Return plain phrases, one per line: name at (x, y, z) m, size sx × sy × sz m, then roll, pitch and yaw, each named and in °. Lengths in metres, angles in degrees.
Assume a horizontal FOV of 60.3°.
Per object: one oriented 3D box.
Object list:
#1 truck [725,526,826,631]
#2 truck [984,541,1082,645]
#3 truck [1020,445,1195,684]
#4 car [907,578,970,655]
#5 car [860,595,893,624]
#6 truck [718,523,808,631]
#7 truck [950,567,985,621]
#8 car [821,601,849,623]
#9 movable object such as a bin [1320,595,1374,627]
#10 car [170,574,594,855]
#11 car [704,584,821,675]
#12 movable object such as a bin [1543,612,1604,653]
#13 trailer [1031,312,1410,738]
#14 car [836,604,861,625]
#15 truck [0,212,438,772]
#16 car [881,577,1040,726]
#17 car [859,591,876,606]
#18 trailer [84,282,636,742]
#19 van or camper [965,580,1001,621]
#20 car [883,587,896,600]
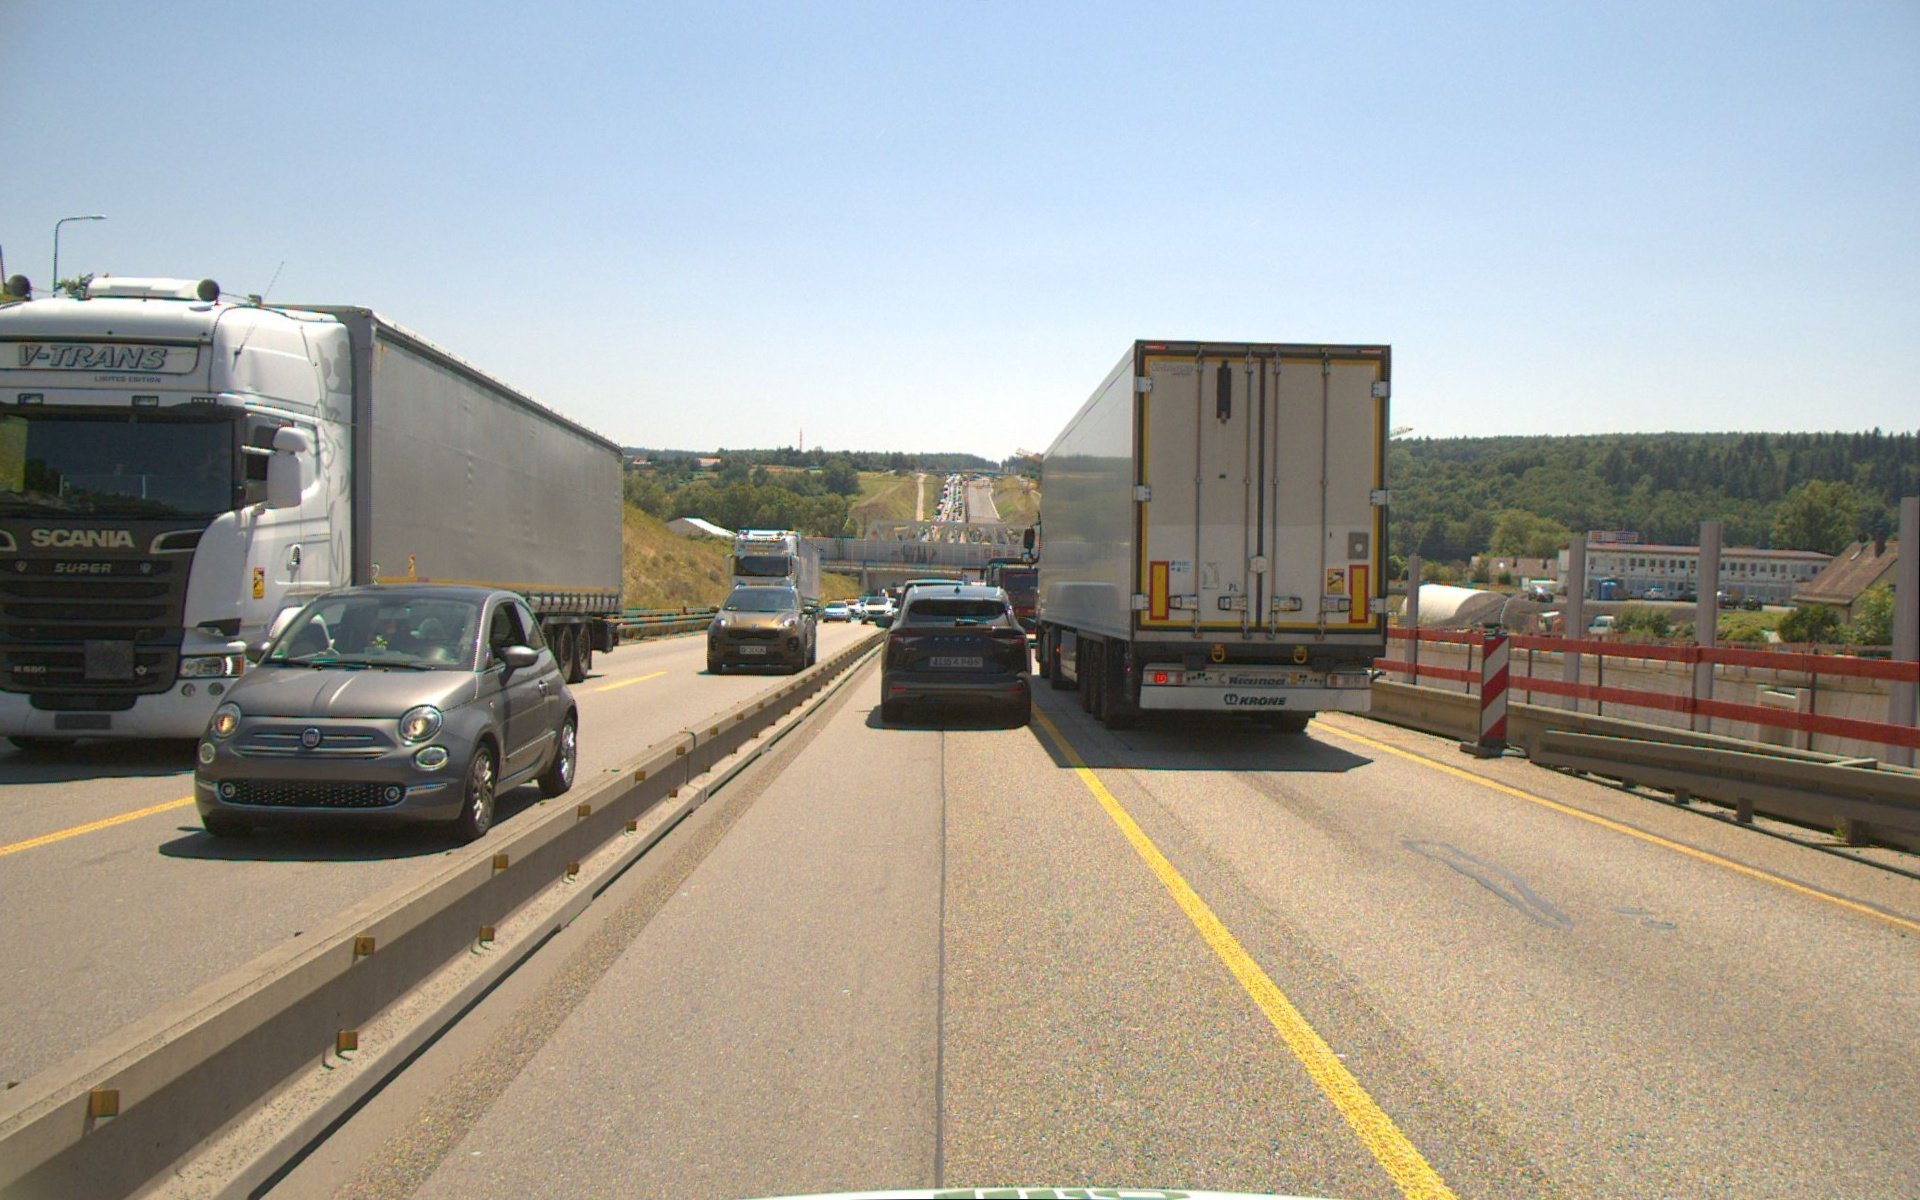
truck at (-8.074, -0.878, 74.421) m, size 3.177 × 4.232 × 13.974 m, roll 1°, pitch 0°, yaw -1°
truck at (2.340, -0.176, 57.301) m, size 2.756 × 3.190 × 12.836 m, roll 1°, pitch 0°, yaw 0°
truck at (2.665, -0.600, 31.269) m, size 2.720 × 4.129 × 4.903 m, roll 1°, pitch -1°, yaw -1°
car at (-0.507, 0.385, 41.065) m, size 1.444 × 1.826 × 3.298 m, roll 0°, pitch 0°, yaw 1°
car at (-5.086, 0.562, 100.679) m, size 1.775 × 1.666 × 4.362 m, roll 1°, pitch 0°, yaw 0°
truck at (-7.944, -0.895, 67.232) m, size 3.173 × 4.233 × 4.246 m, roll 1°, pitch 0°, yaw -1°
truck at (0.544, -0.490, 130.501) m, size 2.467 × 4.028 × 7.597 m, roll 2°, pitch 0°, yaw -1°
car at (-8.221, 0.795, 109.053) m, size 1.667 × 1.403 × 3.966 m, roll 1°, pitch 0°, yaw -2°
movable object such as a bin at (36.532, 1.018, 156.569) m, size 2.828 × 2.960 × 9.478 m, roll 1°, pitch 0°, yaw 0°
car at (-3.529, 0.623, 10.728) m, size 1.596 × 1.505 × 3.379 m, roll 1°, pitch 0°, yaw -1°
car at (-3.745, 0.531, 31.980) m, size 1.811 × 1.614 × 4.173 m, roll 1°, pitch 0°, yaw -1°
movable object such as a bin at (35.513, 1.881, 95.882) m, size 1.953 × 2.278 × 4.151 m, roll 1°, pitch 0°, yaw 0°
trailer at (2.855, -0.671, 23.185) m, size 2.745 × 4.129 × 14.112 m, roll 1°, pitch 0°, yaw -1°
car at (-9.287, 1.189, 137.444) m, size 1.861 × 1.612 × 4.513 m, roll 1°, pitch 0°, yaw -2°
truck at (-6.951, -0.859, 15.354) m, size 2.718 × 4.361 × 4.675 m, roll 1°, pitch 0°, yaw -1°
car at (-0.016, 0.580, 20.322) m, size 1.764 × 1.649 × 3.297 m, roll 1°, pitch 0°, yaw -1°
car at (-9.190, -0.170, 164.189) m, size 1.614 × 1.440 × 3.997 m, roll 0°, pitch 0°, yaw -3°
trailer at (-7.130, -0.865, 22.908) m, size 2.753 × 4.361 × 14.031 m, roll 1°, pitch 0°, yaw -1°
van or camper at (1.342, 0.022, 96.976) m, size 1.953 × 2.283 × 4.000 m, roll 2°, pitch 0°, yaw 0°
car at (-10.198, -0.899, 240.091) m, size 1.697 × 1.825 × 3.579 m, roll 1°, pitch 0°, yaw -1°
